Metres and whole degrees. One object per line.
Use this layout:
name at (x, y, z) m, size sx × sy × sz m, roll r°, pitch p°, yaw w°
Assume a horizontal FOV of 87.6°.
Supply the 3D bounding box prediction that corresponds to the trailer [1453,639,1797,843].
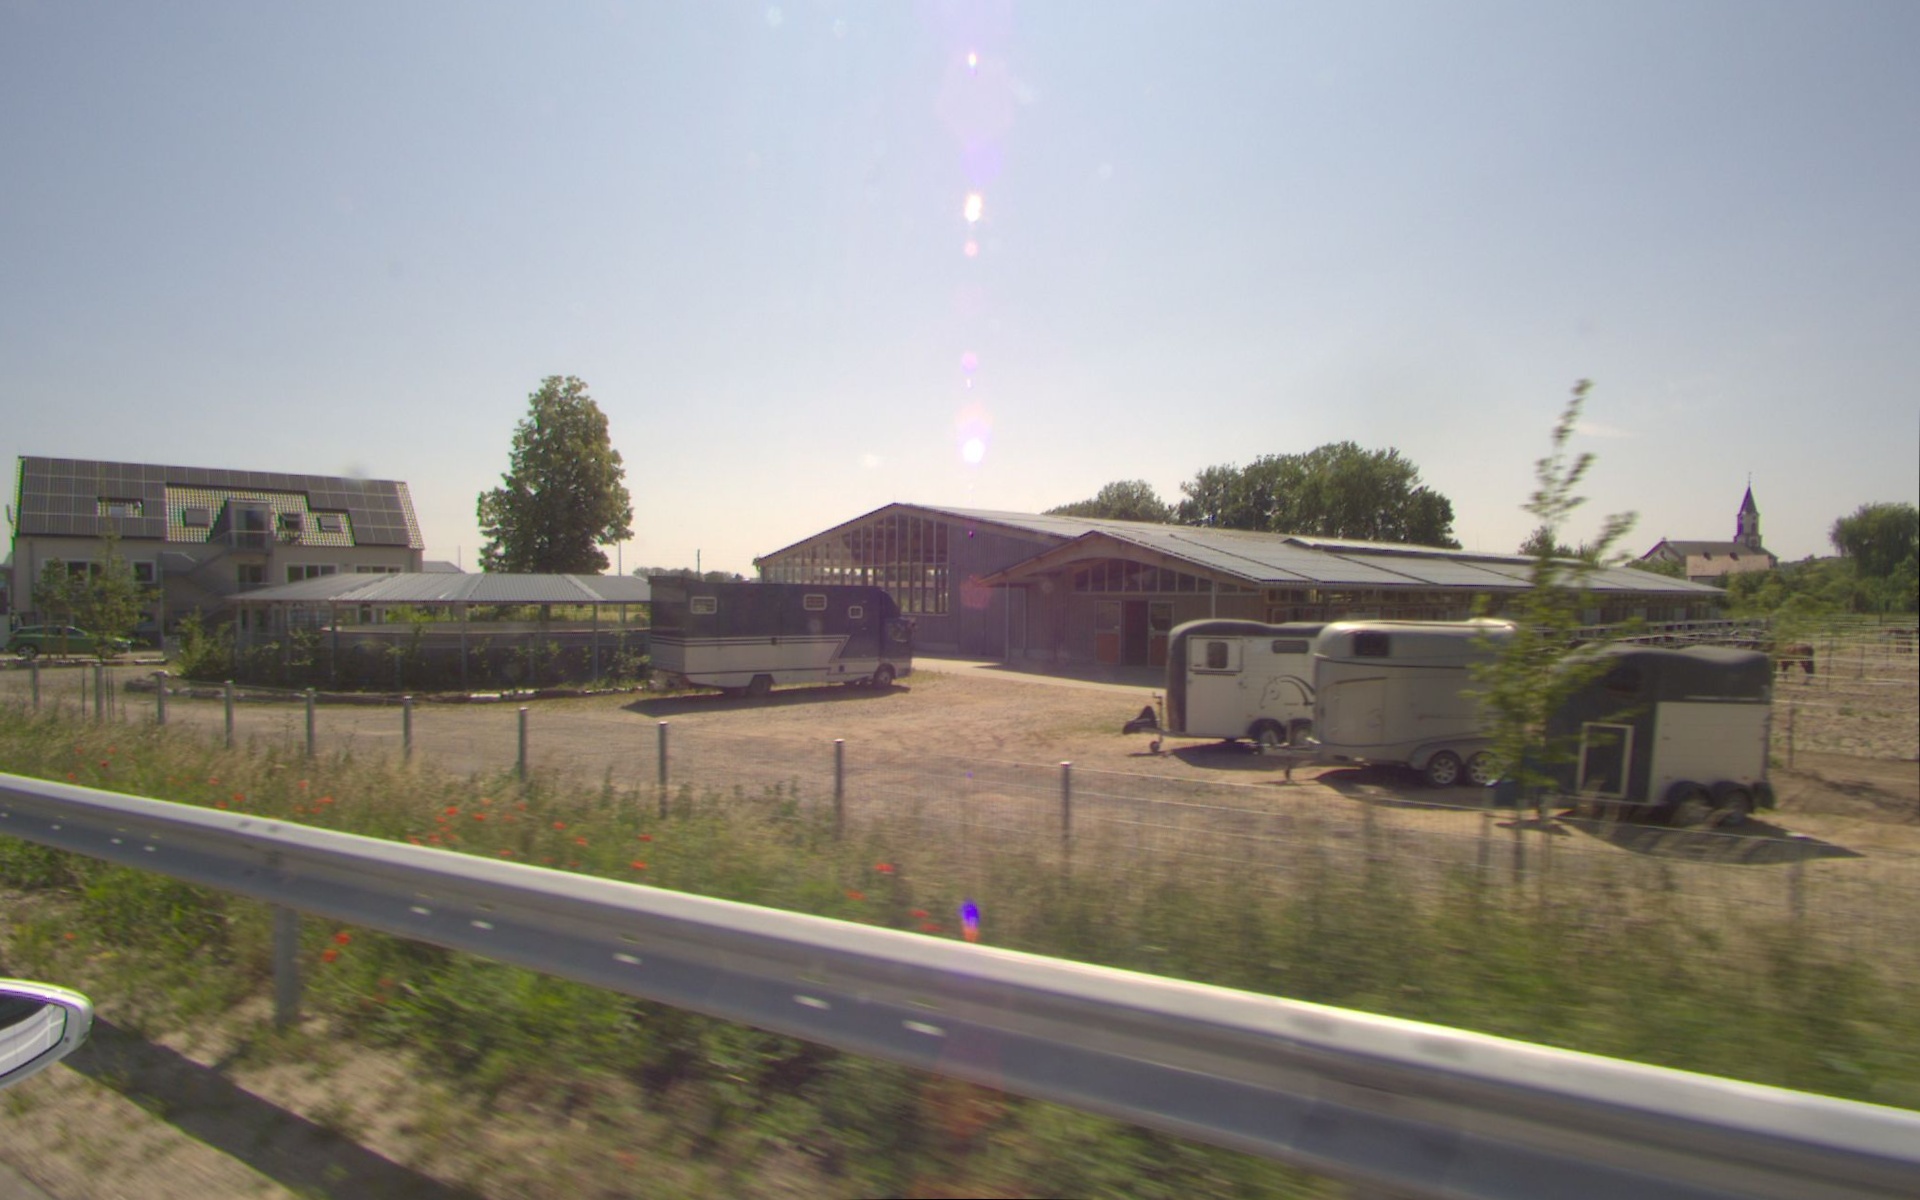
trailer at (10.118, 2.013, 15.319) m, size 4.472 × 2.666 × 1.820 m, roll 1°, pitch 4°, yaw -17°

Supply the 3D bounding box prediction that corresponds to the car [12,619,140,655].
car at (-41.088, 1.722, 46.692) m, size 4.324 × 1.600 × 1.919 m, roll 2°, pitch -2°, yaw -39°

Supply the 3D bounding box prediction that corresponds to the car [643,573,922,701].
car at (-5.591, 1.111, 32.953) m, size 8.900 × 3.701 × 2.755 m, roll 1°, pitch 0°, yaw -41°

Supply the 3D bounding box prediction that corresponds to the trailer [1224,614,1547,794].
trailer at (7.575, 1.732, 18.052) m, size 4.952 × 2.903 × 2.231 m, roll 0°, pitch 2°, yaw -13°

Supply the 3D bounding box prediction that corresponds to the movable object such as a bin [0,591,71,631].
movable object such as a bin at (-68.624, 0.783, 74.225) m, size 6.423 × 2.806 × 2.991 m, roll 1°, pitch 0°, yaw 39°

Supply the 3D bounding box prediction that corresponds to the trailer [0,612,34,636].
trailer at (-61.436, 1.592, 64.867) m, size 1.694 × 1.515 × 3.122 m, roll 0°, pitch -2°, yaw -34°

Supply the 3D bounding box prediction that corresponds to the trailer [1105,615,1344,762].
trailer at (5.572, 1.772, 21.310) m, size 4.398 × 2.707 × 2.172 m, roll -2°, pitch 2°, yaw -13°
